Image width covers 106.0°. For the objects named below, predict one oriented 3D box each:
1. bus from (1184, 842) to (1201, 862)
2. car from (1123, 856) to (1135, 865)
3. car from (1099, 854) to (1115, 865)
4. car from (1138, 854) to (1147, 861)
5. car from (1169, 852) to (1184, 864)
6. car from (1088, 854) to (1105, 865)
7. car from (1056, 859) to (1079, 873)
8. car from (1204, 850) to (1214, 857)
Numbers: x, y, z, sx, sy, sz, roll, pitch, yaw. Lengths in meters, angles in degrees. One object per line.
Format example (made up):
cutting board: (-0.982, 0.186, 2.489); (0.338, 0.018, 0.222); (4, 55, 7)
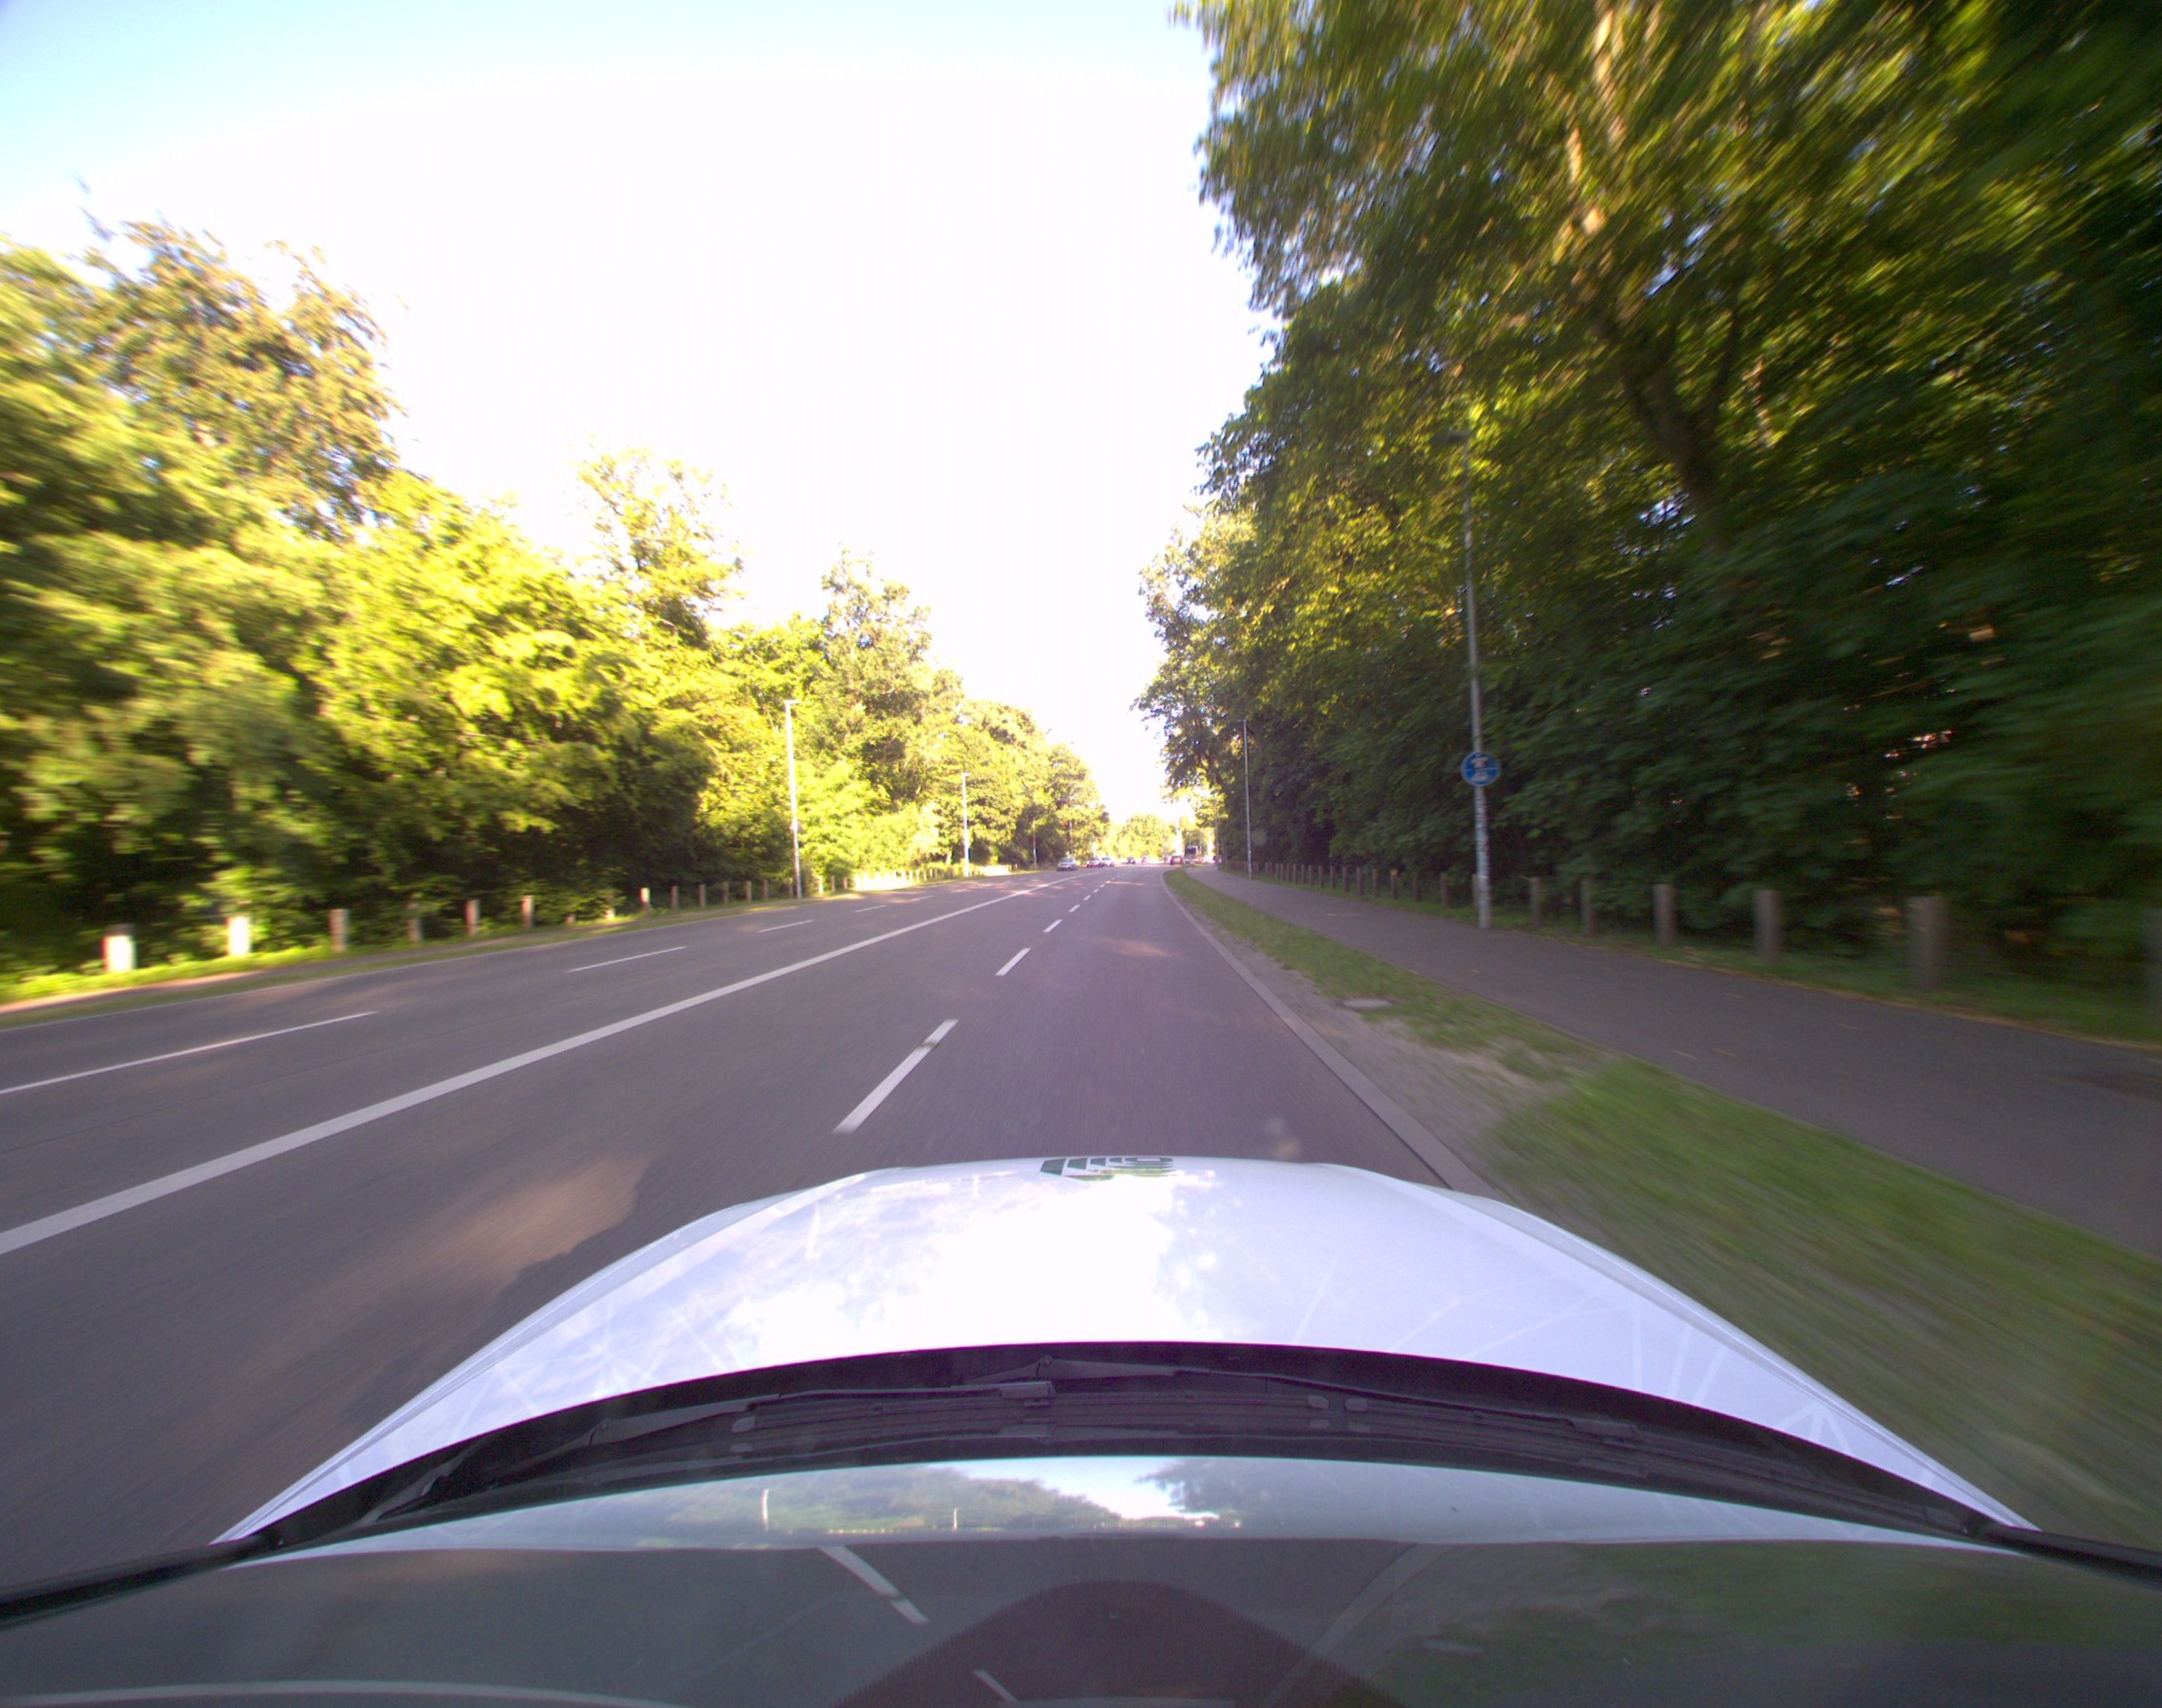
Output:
bus: (20.254, -0.346, 147.747); (2.588, 3.369, 8.000); (-1, 0, 11)
car: (9.158, 1.239, 155.124); (1.652, 1.518, 3.819); (-2, -1, 12)
car: (3.875, 0.776, 120.156); (1.772, 1.522, 4.409); (-1, 0, 9)
car: (13.519, 0.684, 178.197); (1.645, 1.508, 4.011); (-2, -1, 10)
car: (14.673, 0.589, 125.058); (1.868, 1.765, 4.013); (-2, 0, 12)
car: (2.118, 0.711, 109.602); (1.769, 1.464, 4.284); (-1, -1, 8)
car: (-1.415, 1.252, 86.374); (1.769, 1.408, 4.176); (-1, 0, 9)
car: (29.691, -0.088, 188.772); (1.849, 1.684, 3.788); (-3, -1, 15)
